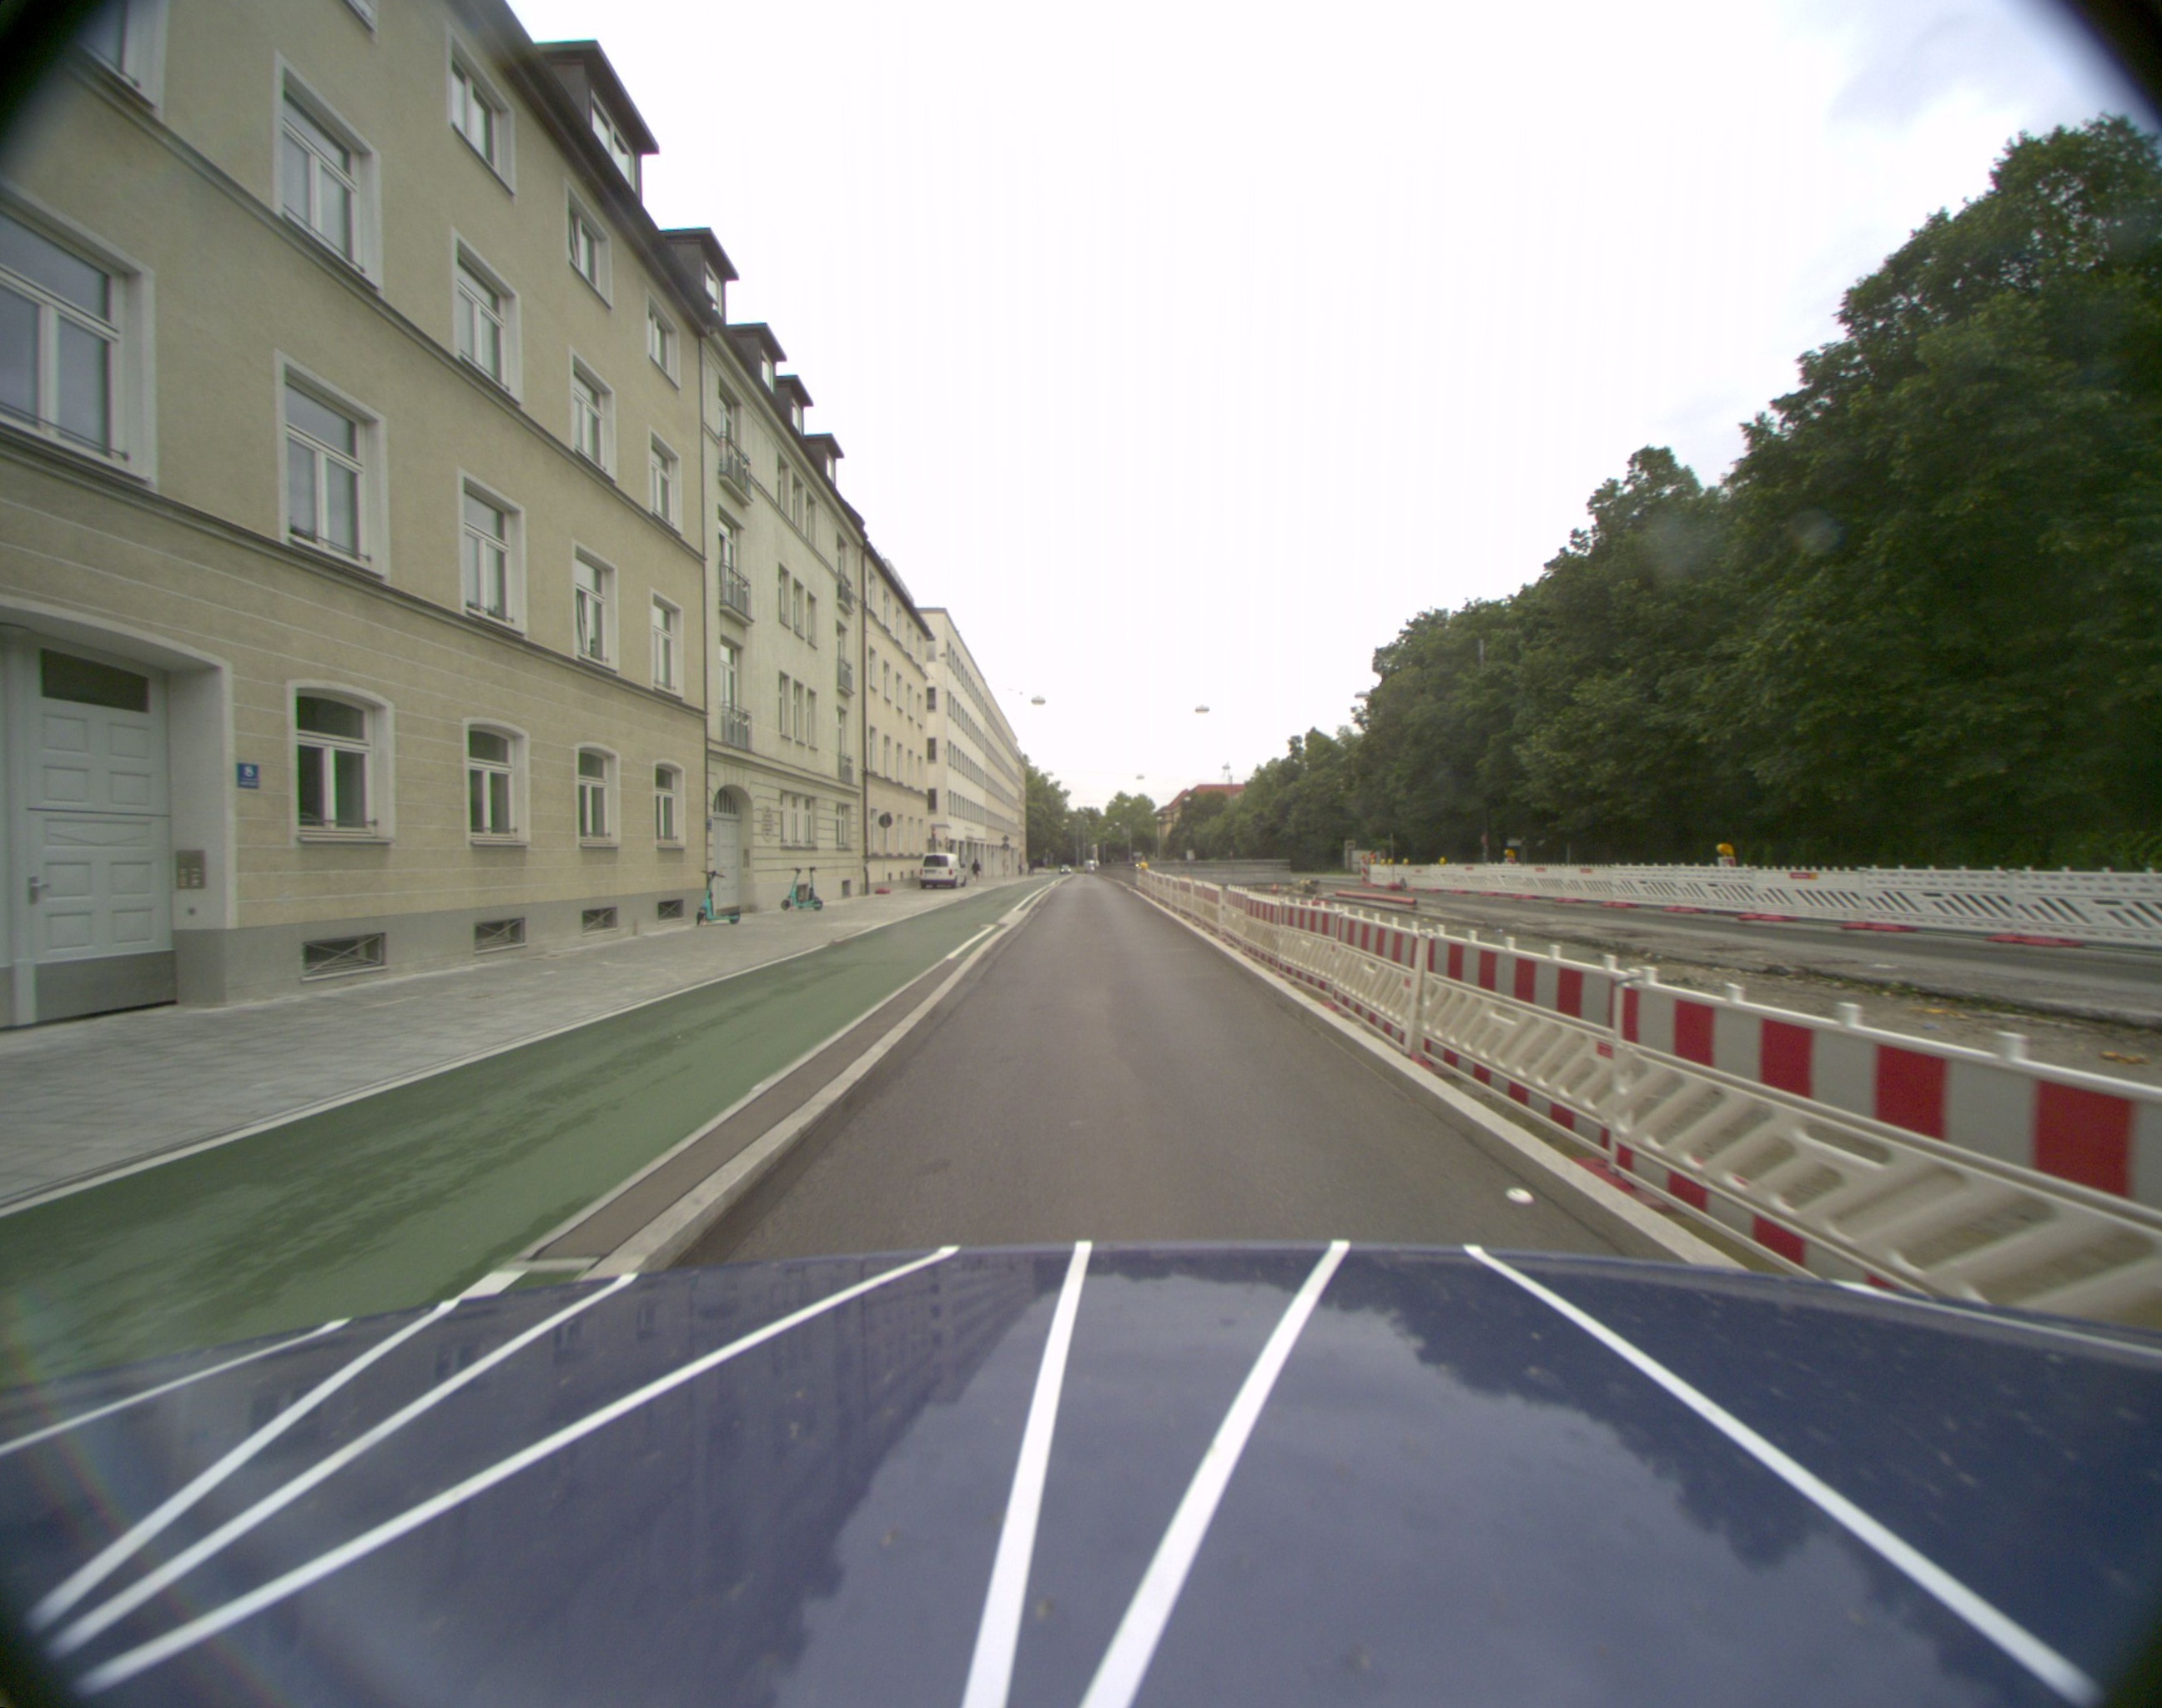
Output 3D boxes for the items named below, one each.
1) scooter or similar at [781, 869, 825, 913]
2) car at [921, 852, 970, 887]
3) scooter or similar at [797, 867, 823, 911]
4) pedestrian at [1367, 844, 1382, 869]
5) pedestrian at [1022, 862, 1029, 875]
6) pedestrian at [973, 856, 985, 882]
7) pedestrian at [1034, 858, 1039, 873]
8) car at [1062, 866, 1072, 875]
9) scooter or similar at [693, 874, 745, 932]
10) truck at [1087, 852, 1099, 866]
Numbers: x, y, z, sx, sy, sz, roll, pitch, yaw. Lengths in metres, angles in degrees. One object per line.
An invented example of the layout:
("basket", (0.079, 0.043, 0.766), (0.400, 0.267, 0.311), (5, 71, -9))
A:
("scooter or similar", (-7.970, 1.055, 21.798), (1.121, 1.224, 0.246), (1, 1, -33))
("car", (-6.992, 0.784, 39.616), (1.738, 1.739, 4.435), (0, 0, 0))
("scooter or similar", (-8.188, 1.030, 22.972), (0.387, 1.265, 1.119), (1, 1, 0))
("pedestrian", (19.341, 0.143, 50.060), (0.665, 1.631, 0.698), (-2, 0, 1))
("pedestrian", (-7.176, 1.831, 98.130), (0.754, 1.610, 0.704), (3, 0, 0))
("pedestrian", (-6.319, 0.932, 47.091), (0.666, 1.626, 0.737), (0, 0, 0))
("pedestrian", (-5.626, 1.444, 96.844), (0.514, 1.825, 0.602), (3, 0, 0))
("car", (-2.899, 3.260, 154.712), (1.999, 1.738, 4.000), (-2, 0, -1))
("scooter or similar", (-8.085, 1.066, 16.987), (0.246, 1.224, 1.121), (2, 1, 26))
("truck", (2.306, 0.923, 144.991), (2.058, 2.625, 4.412), (-1, 0, -1))
